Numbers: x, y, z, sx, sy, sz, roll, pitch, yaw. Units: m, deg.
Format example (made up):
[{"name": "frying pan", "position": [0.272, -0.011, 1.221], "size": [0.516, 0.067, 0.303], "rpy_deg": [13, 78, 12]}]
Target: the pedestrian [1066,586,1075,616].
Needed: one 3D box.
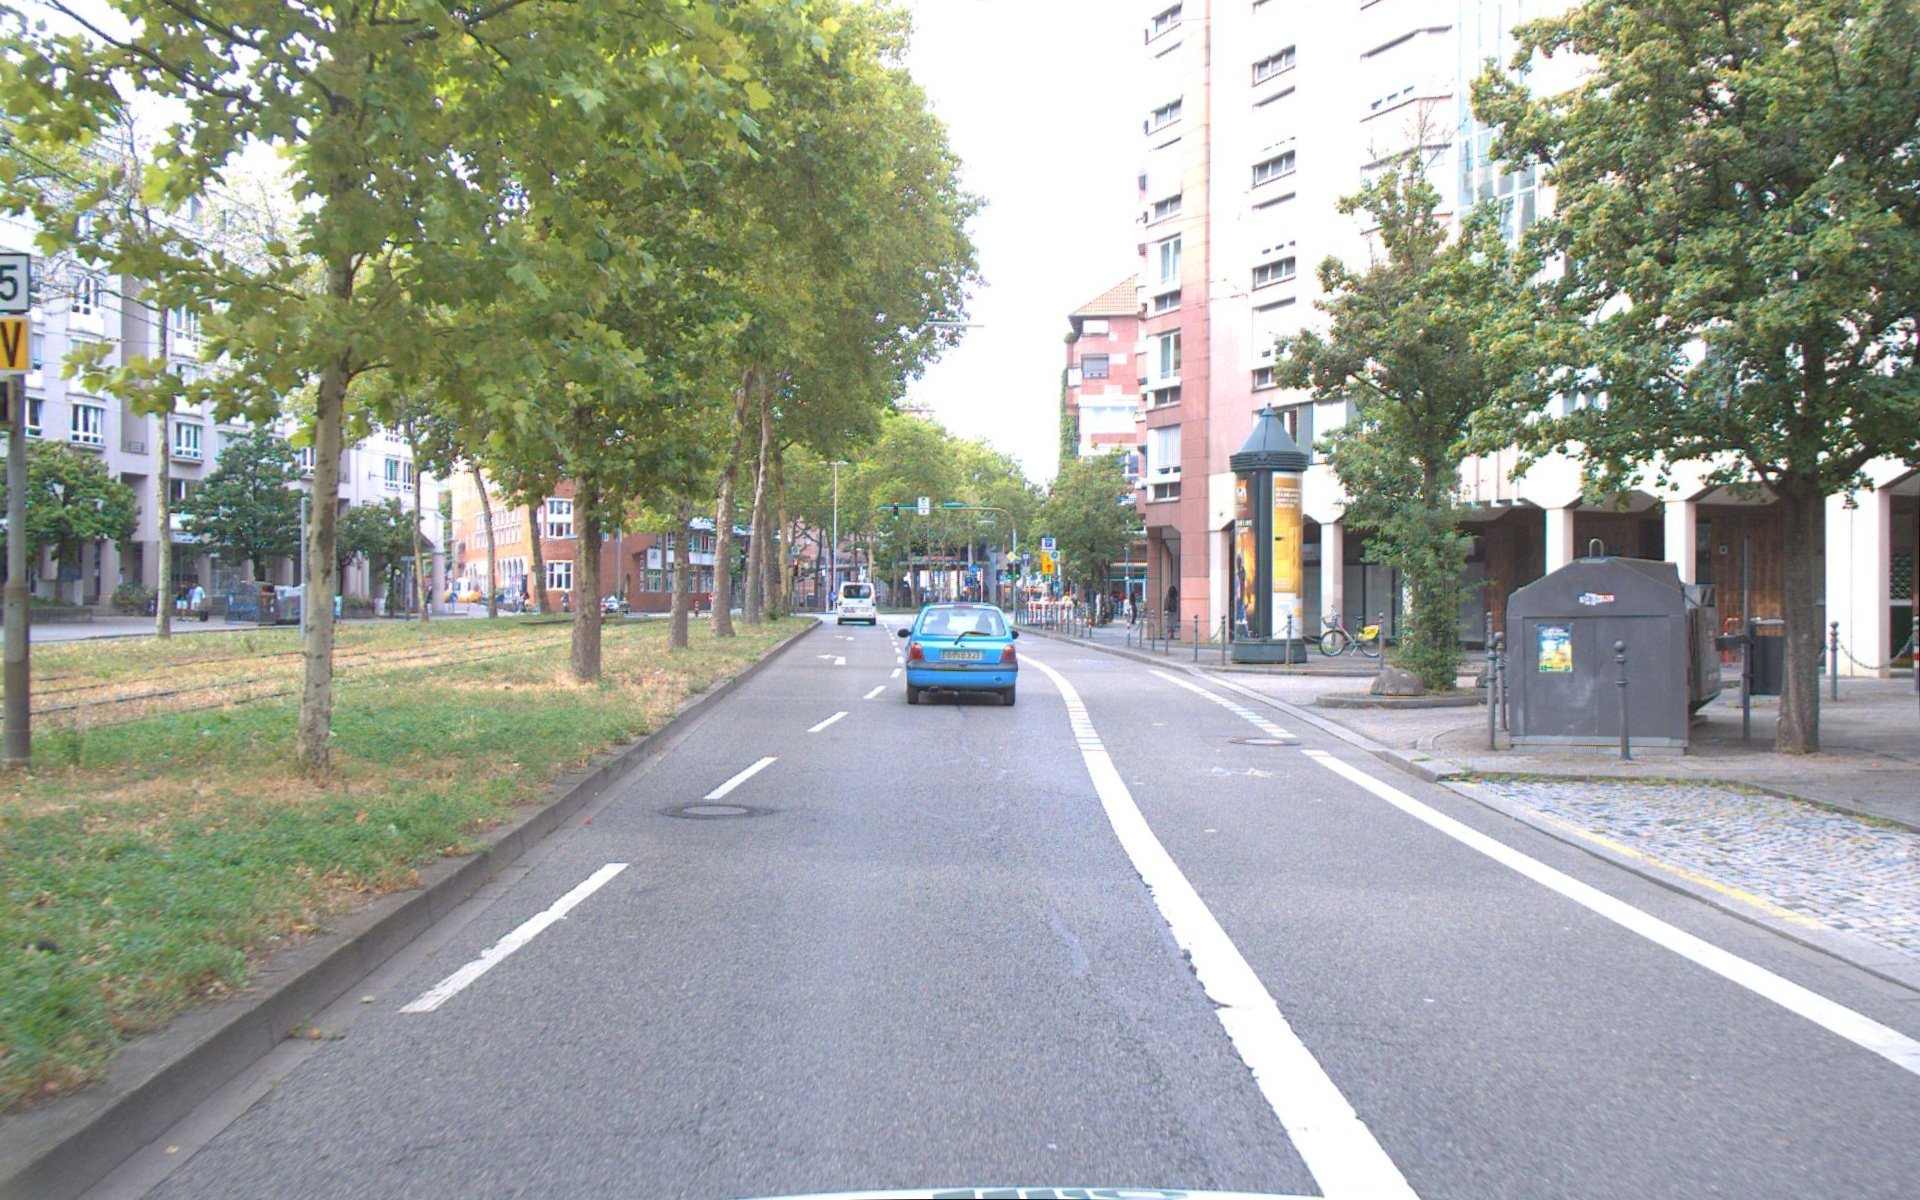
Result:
[{"name": "pedestrian", "position": [6.015, 0.042, 90.141], "size": [0.506, 1.644, 0.851], "rpy_deg": [0, 0, 3]}]

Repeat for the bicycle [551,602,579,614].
[{"name": "bicycle", "position": [-29.097, 0.612, 121.800], "size": [1.969, 0.850, 0.571], "rpy_deg": [0, 0, -40]}]

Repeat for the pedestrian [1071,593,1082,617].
[{"name": "pedestrian", "position": [7.485, 0.313, 106.186], "size": [0.661, 1.565, 0.947], "rpy_deg": [0, 0, 4]}]

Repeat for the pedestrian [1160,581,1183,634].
[{"name": "pedestrian", "position": [6.813, 0.239, 53.269], "size": [0.532, 1.678, 0.825], "rpy_deg": [0, 0, 21]}]

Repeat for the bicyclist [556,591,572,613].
[{"name": "bicyclist", "position": [-29.164, 0.162, 121.764], "size": [1.024, 1.590, 0.574], "rpy_deg": [0, 0, -40]}]

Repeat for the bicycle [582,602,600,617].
[{"name": "bicycle", "position": [-27.812, 0.691, 124.714], "size": [0.676, 1.111, 1.879], "rpy_deg": [0, 0, 9]}]

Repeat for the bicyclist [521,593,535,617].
[{"name": "bicyclist", "position": [-30.263, 0.333, 115.856], "size": [0.777, 1.702, 0.565], "rpy_deg": [0, 0, -40]}]

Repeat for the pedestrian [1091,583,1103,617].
[{"name": "pedestrian", "position": [7.585, 0.017, 91.577], "size": [0.662, 1.860, 0.851], "rpy_deg": [0, 0, 4]}]

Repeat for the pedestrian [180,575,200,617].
[{"name": "pedestrian", "position": [-32.610, -0.171, 70.046], "size": [0.541, 1.735, 0.626], "rpy_deg": [0, 0, 1]}]

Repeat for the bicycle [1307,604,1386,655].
[{"name": "bicycle", "position": [8.828, 0.667, 37.769], "size": [1.633, 1.148, 0.667], "rpy_deg": [-1, -1, 39]}]

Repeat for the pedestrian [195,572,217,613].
[{"name": "pedestrian", "position": [-31.928, -0.325, 70.040], "size": [0.541, 1.735, 0.884], "rpy_deg": [0, 0, 1]}]

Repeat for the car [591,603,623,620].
[{"name": "car", "position": [-26.014, 0.836, 122.010], "size": [1.695, 1.267, 4.531], "rpy_deg": [0, 0, -4]}]

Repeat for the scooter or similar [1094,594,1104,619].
[{"name": "scooter or similar", "position": [6.892, 0.318, 82.071], "size": [0.464, 1.227, 1.331], "rpy_deg": [0, 0, 3]}]

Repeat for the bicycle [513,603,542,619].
[{"name": "bicycle", "position": [-30.290, 0.792, 115.842], "size": [1.859, 1.111, 0.569], "rpy_deg": [0, 0, -40]}]

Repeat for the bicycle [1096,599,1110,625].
[{"name": "bicycle", "position": [6.375, 0.525, 73.657], "size": [0.599, 1.137, 1.805], "rpy_deg": [0, 0, 4]}]

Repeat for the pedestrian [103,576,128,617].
[{"name": "pedestrian", "position": [-37.818, -0.144, 74.080], "size": [0.753, 1.841, 0.693], "rpy_deg": [0, 0, 6]}]

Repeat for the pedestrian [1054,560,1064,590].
[{"name": "pedestrian", "position": [5.423, -1.369, 90.590], "size": [0.506, 1.644, 0.851], "rpy_deg": [0, 0, 2]}]

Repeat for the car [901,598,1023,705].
[{"name": "car", "position": [-0.034, 0.698, 24.372], "size": [1.608, 1.410, 3.841], "rpy_deg": [1, 0, -3]}]

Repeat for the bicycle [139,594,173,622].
[{"name": "bicycle", "position": [-36.261, 0.349, 74.617], "size": [0.522, 1.233, 1.840], "rpy_deg": [0, 0, 4]}]

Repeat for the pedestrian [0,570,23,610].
[{"name": "pedestrian", "position": [-40.697, -0.431, 70.923], "size": [0.623, 1.701, 0.660], "rpy_deg": [0, 0, 6]}]

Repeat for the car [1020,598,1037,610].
[{"name": "car", "position": [9.334, 0.515, 225.512], "size": [1.846, 1.652, 4.003], "rpy_deg": [0, 0, 9]}]

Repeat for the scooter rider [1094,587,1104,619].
[{"name": "scooter rider", "position": [6.879, 0.161, 81.728], "size": [0.451, 1.584, 0.565], "rpy_deg": [0, 0, 1]}]

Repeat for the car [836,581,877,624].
[{"name": "car", "position": [-4.886, 0.096, 78.438], "size": [1.893, 1.959, 4.953], "rpy_deg": [0, 0, -3]}]
